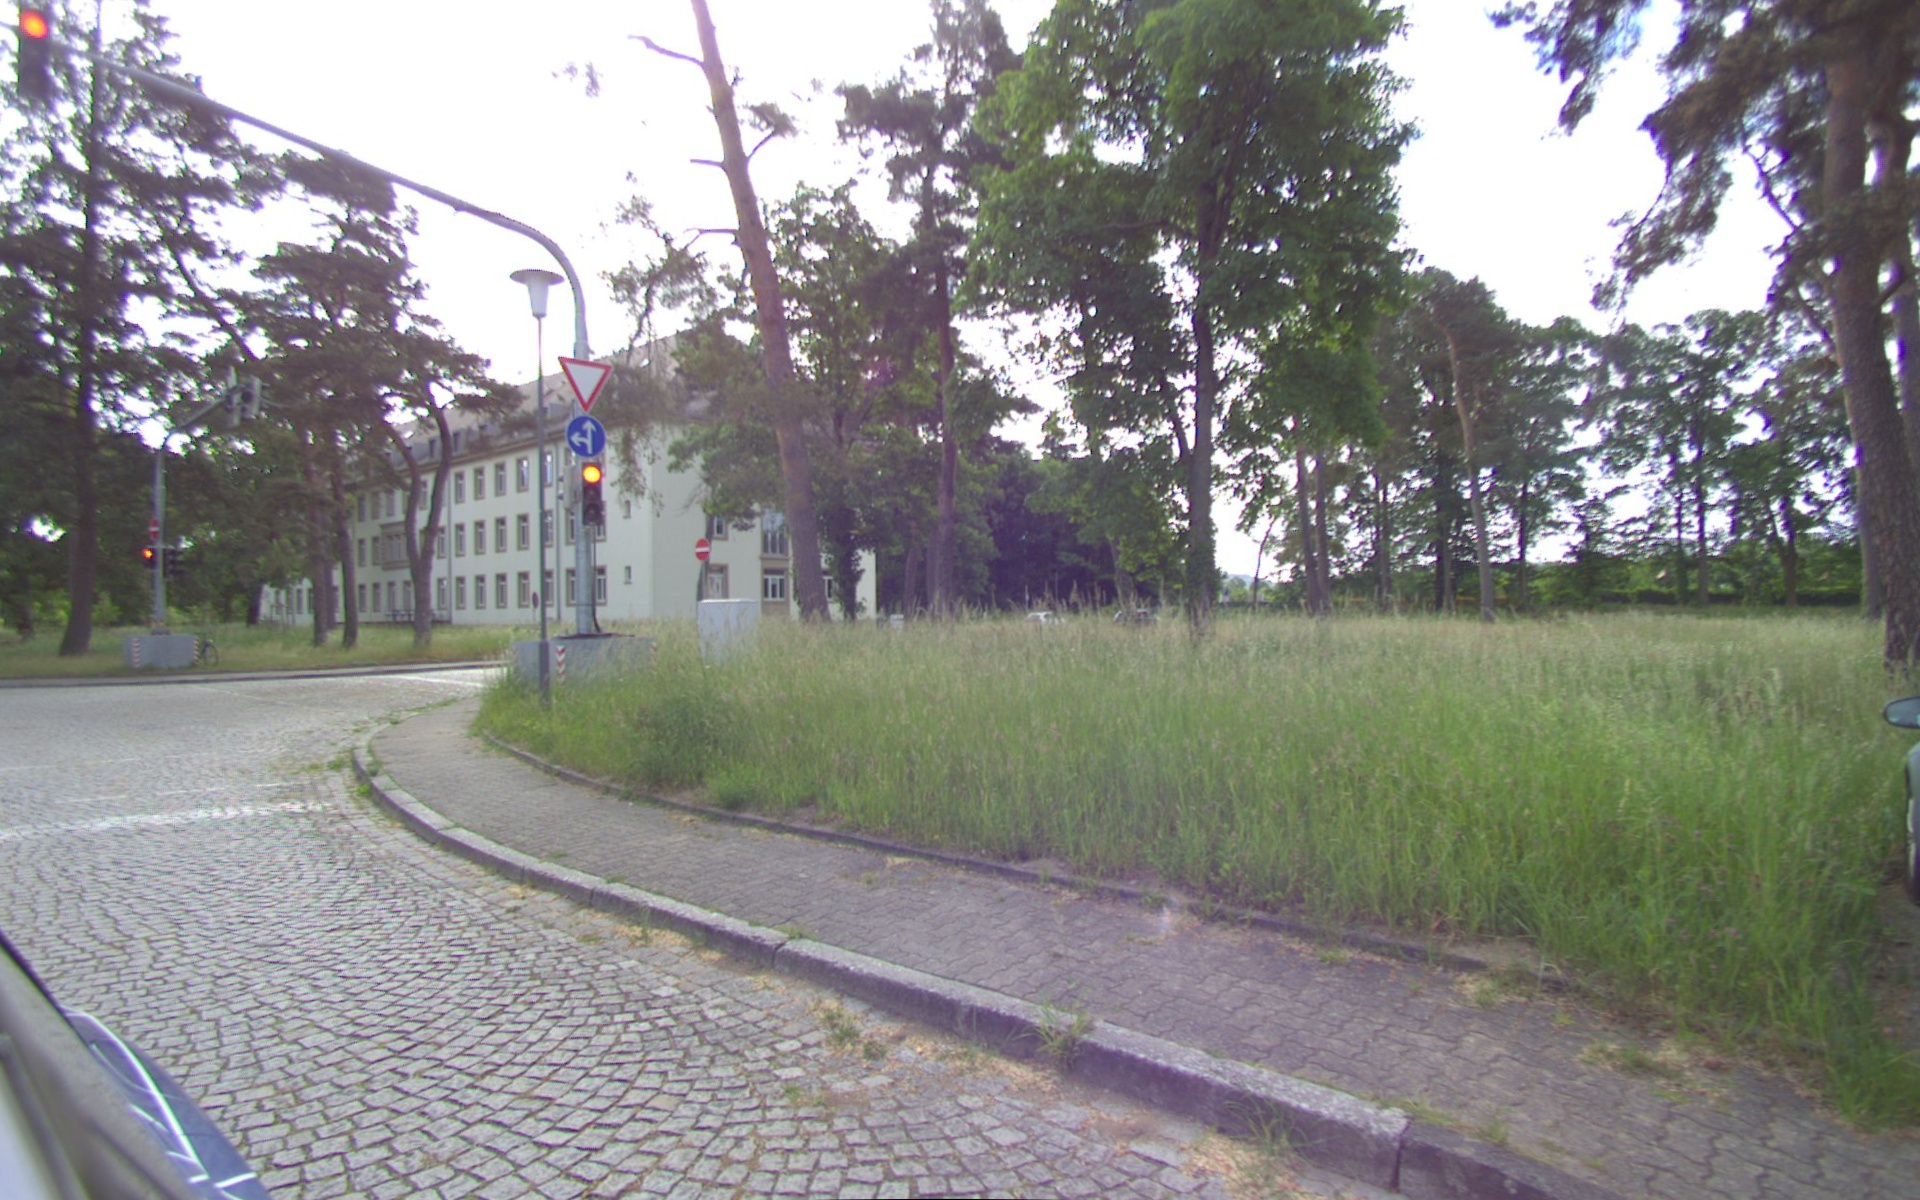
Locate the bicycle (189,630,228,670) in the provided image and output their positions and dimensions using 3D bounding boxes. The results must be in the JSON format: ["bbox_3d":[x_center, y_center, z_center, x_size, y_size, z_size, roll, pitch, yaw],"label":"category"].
[{"bbox_3d":[-21.483,1.409,28.919,1.414,1.082,0.491,-1,2,38],"label":"bicycle"}]

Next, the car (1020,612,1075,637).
[{"bbox_3d":[6.133,1.669,70.732,1.717,1.622,3.999,0,1,44],"label":"car"}]

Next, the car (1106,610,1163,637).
[{"bbox_3d":[11.304,1.496,65.384,1.716,1.622,4.001,0,1,42],"label":"car"}]
